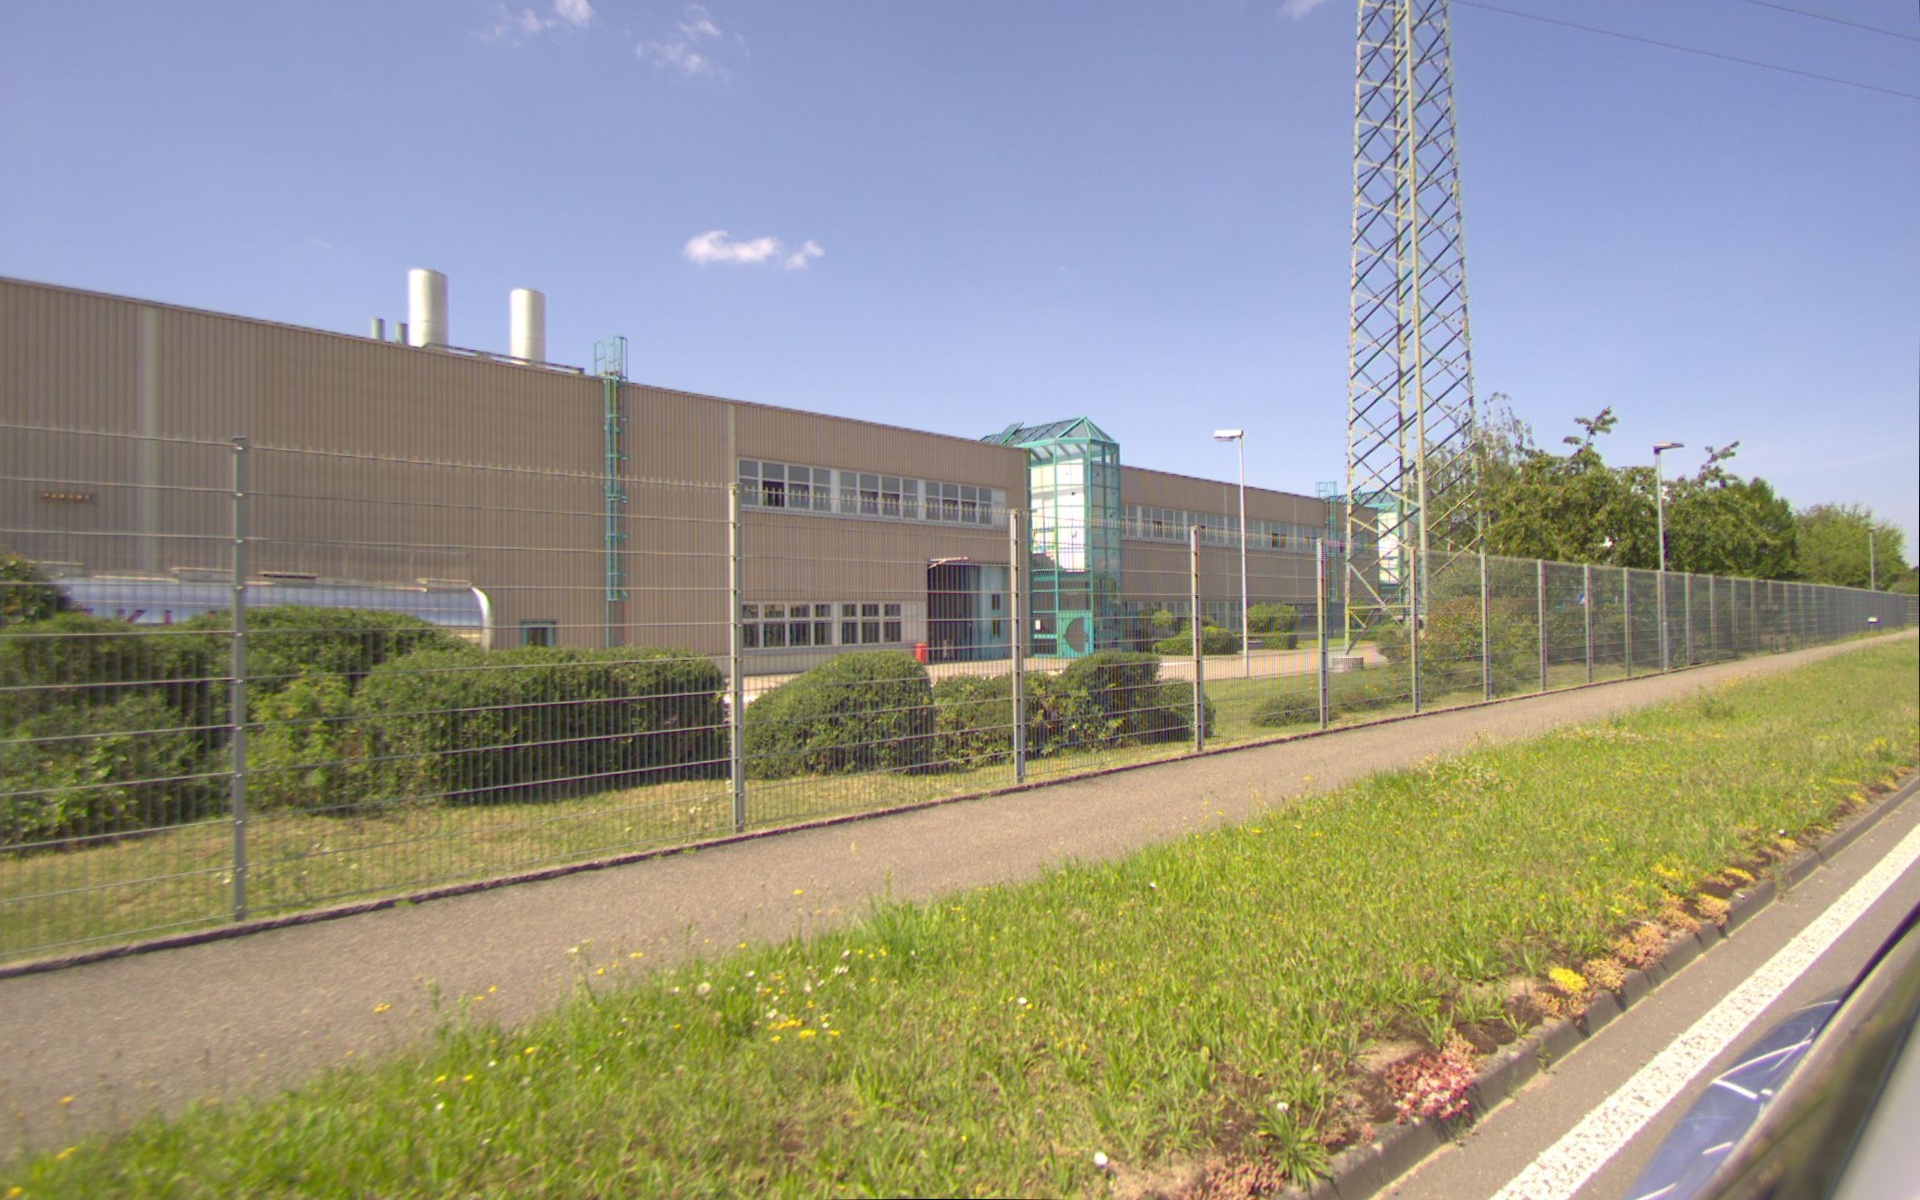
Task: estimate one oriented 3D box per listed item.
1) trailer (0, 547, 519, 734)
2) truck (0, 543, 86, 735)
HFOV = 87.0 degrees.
[{"bbox_3d":[-17.717,0.828,25.144,3.588,3.783,12.050,-1,-1,42],"label":"trailer"},{"bbox_3d":[-22.079,0.792,20.412,3.590,3.916,6.314,0,0,40],"label":"truck"}]
